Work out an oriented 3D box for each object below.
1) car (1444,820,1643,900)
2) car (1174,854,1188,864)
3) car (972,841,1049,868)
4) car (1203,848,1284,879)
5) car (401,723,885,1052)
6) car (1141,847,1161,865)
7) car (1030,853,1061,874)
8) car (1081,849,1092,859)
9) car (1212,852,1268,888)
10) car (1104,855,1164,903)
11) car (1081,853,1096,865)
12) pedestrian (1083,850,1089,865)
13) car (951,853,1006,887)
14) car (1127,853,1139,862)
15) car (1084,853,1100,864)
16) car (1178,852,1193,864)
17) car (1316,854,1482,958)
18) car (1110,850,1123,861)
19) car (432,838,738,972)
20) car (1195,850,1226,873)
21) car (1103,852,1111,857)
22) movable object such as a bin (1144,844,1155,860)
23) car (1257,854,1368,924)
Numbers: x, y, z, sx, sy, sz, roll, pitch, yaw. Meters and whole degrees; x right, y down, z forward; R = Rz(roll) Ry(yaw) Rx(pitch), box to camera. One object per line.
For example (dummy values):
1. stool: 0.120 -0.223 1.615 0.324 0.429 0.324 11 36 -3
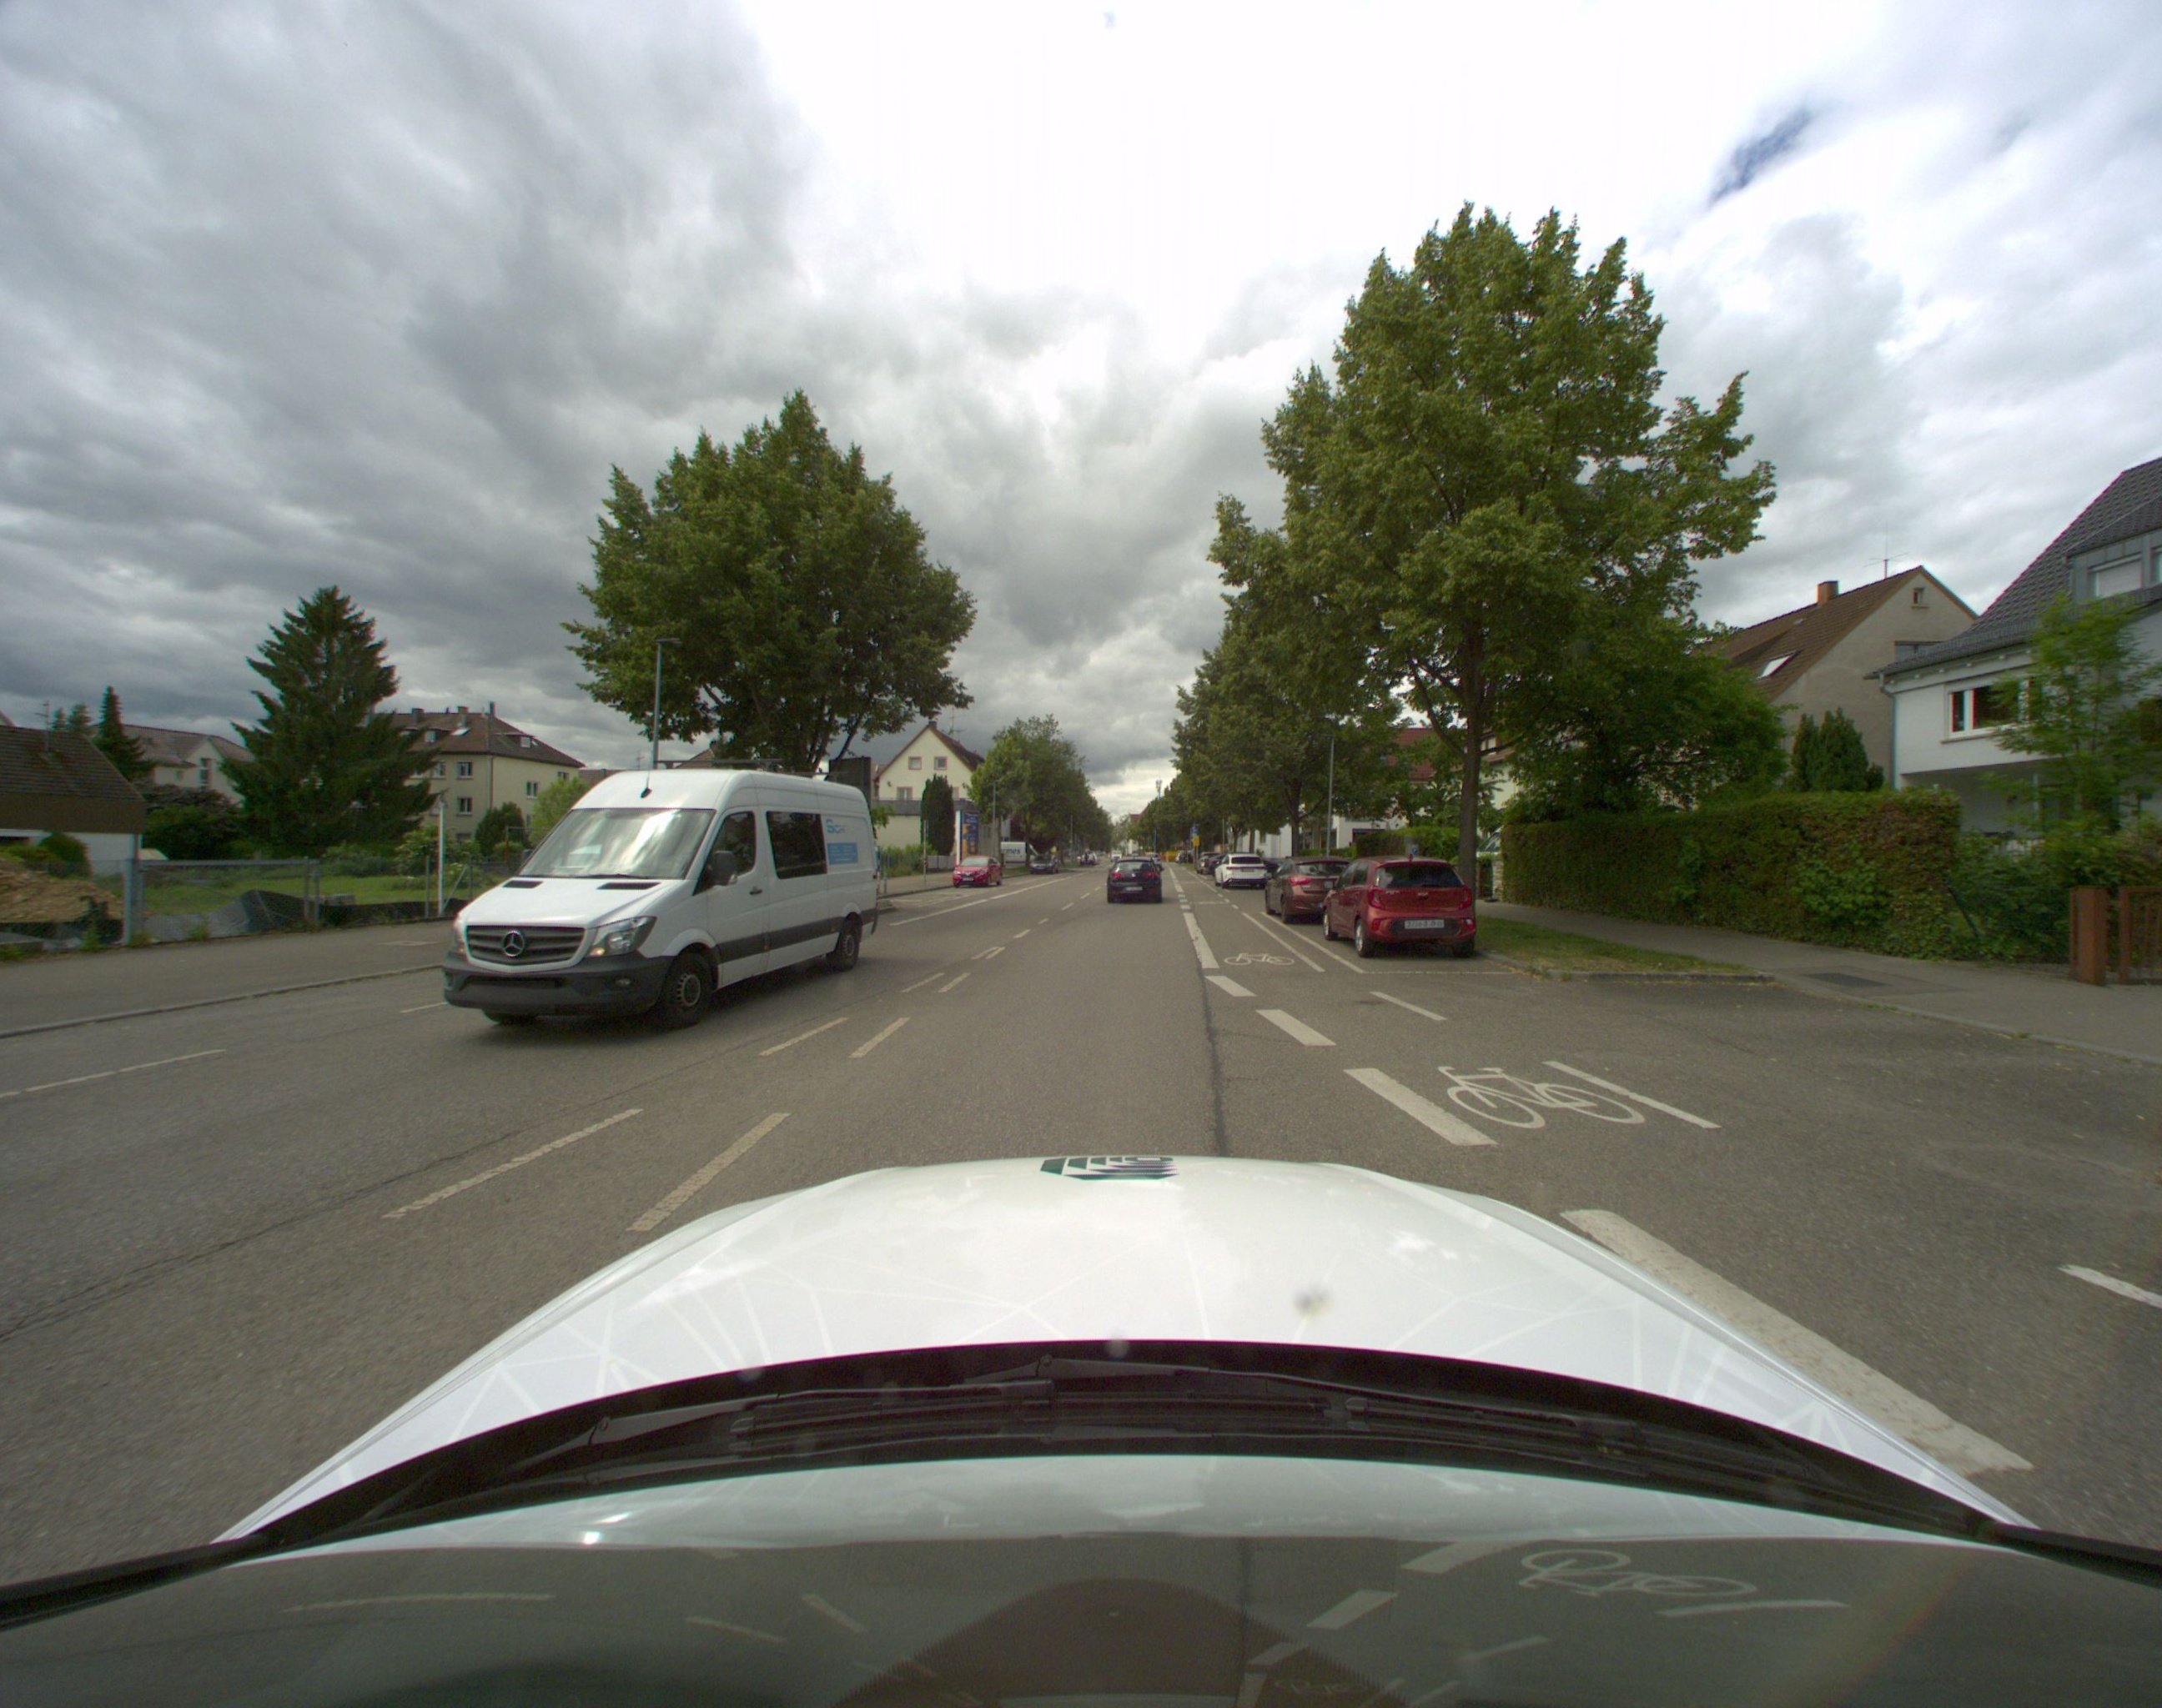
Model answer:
1. car: 15.657 0.179 27.799 5.694 2.591 1.998 0 1 0
2. car: 14.233 0.719 116.124 1.665 1.462 4.003 0 0 2
3. car: -6.876 0.054 79.849 7.262 2.594 2.221 0 0 1
4. car: 9.056 0.528 45.536 4.204 1.638 1.693 -1 0 -1
5. car: -4.352 0.259 9.620 2.008 2.674 5.817 0 0 7
6. car: 7.002 0.191 81.597 1.897 1.685 3.744 -1 0 4
7. car: -2.666 0.706 61.906 1.722 1.469 4.309 -1 0 6
8. car: 1.256 0.051 188.509 2.088 2.175 5.039 0 0 -3
9. car: 6.830 0.655 35.432 1.797 1.475 4.817 0 0 4
10. car: 1.708 0.761 26.764 1.811 1.437 3.743 -1 0 3
11. car: 0.940 0.616 99.603 1.635 1.420 4.025 -1 0 4
12. pedestrian: 0.581 0.368 91.436 0.538 1.681 0.753 1 1 13
13. car: -4.892 0.732 39.513 1.676 1.541 4.140 0 0 7
14. car: 8.557 0.531 134.549 1.803 1.375 3.693 0 0 1
15. car: 1.478 0.595 106.234 1.705 1.406 4.308 -1 0 7
16. car: 13.671 0.485 106.344 1.698 1.454 4.622 -1 0 4
17. car: 4.988 0.749 13.256 1.557 1.455 3.673 0 -1 5
18. car: 6.040 0.173 136.926 1.957 1.830 4.826 0 0 5
19. car: -7.618 0.668 13.179 1.761 1.770 4.560 0 0 7
20. car: 9.073 0.507 57.208 1.715 1.580 4.064 0 0 3
21. car: 6.971 0.152 220.797 1.808 1.415 3.685 0 0 -6
22. movable object such as a bin: 11.579 -0.339 138.684 1.761 2.574 3.743 0 0 3
23. car: 5.272 0.730 19.060 1.645 1.416 4.181 -1 0 4
